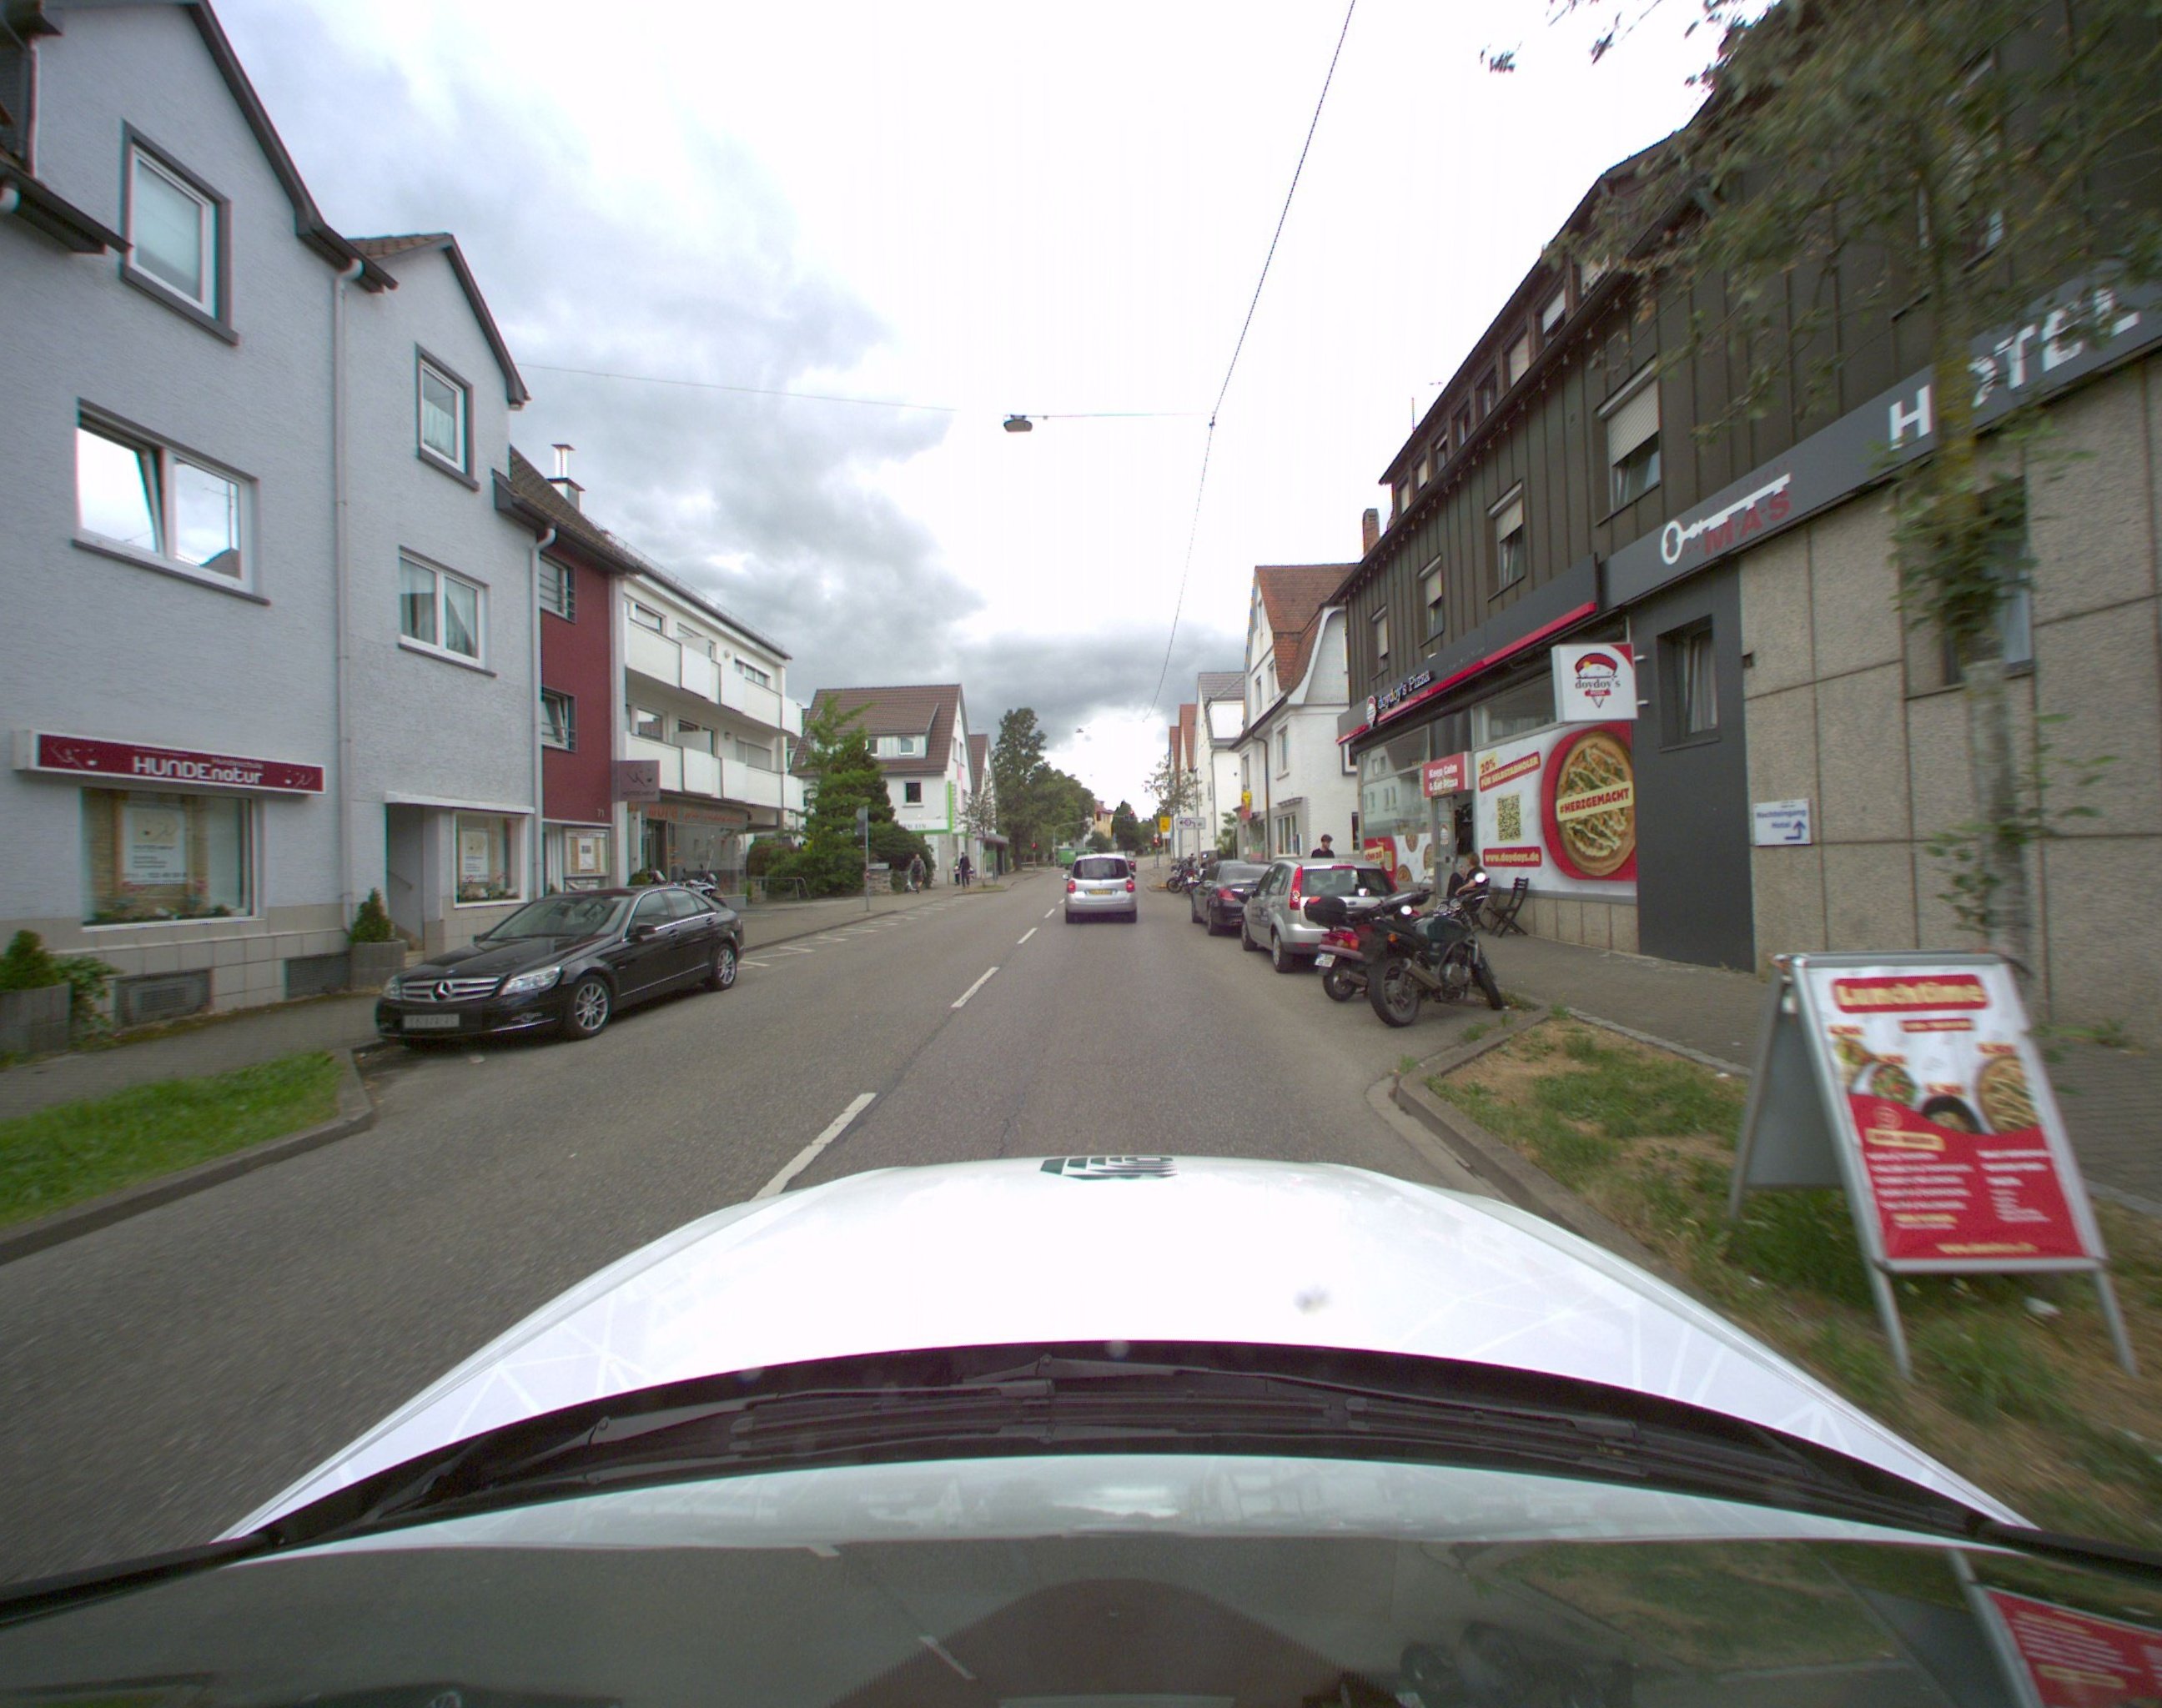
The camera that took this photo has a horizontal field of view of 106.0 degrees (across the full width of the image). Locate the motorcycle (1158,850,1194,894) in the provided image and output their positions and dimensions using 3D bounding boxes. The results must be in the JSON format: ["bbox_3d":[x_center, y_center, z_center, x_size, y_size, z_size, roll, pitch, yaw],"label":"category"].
[{"bbox_3d":[3.670,0.686,31.670,0.698,1.639,2.399,0,-1,-12],"label":"motorcycle"}]

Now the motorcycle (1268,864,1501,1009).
[{"bbox_3d":[3.263,0.787,8.624,2.723,1.336,0.693,0,-1,-29],"label":"motorcycle"}]

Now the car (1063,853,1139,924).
[{"bbox_3d":[0.528,0.772,20.066,1.676,1.566,3.996,0,0,2],"label":"car"}]

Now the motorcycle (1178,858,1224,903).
[{"bbox_3d":[4.050,0.851,27.315,0.691,1.409,2.732,-1,-1,26],"label":"motorcycle"}]

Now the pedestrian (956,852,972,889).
[{"bbox_3d":[-6.077,0.850,42.223,0.713,1.876,0.696,-1,-1,1],"label":"pedestrian"}]

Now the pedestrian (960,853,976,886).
[{"bbox_3d":[-6.367,0.864,45.874,0.759,1.876,0.696,-1,-1,1],"label":"pedestrian"}]

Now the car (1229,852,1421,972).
[{"bbox_3d":[3.297,0.718,11.774,1.694,1.430,3.891,-1,-1,1],"label":"car"}]

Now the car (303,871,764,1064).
[{"bbox_3d":[-5.562,1.016,9.204,1.941,1.467,4.518,-4,-1,2],"label":"car"}]

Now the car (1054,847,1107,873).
[{"bbox_3d":[-0.054,0.706,97.063,5.933,2.907,2.245,-1,-1,-12],"label":"car"}]

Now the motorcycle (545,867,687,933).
[{"bbox_3d":[-10.440,1.009,18.369,2.705,1.409,0.698,-1,-1,-8],"label":"motorcycle"}]

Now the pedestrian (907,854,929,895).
[{"bbox_3d":[-7.362,0.915,36.865,0.760,1.791,0.890,-1,-1,1],"label":"pedestrian"}]

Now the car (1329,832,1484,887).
[{"bbox_3d":[9.622,0.167,24.303,3.965,1.566,1.689,0,-1,2],"label":"car"}]

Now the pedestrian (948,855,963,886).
[{"bbox_3d":[-7.099,0.937,46.237,0.713,1.756,0.696,-1,-1,1],"label":"pedestrian"}]

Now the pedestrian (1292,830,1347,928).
[{"bbox_3d":[4.808,0.493,16.478,0.853,1.928,0.900,-1,-1,2],"label":"pedestrian"}]

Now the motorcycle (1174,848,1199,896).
[{"bbox_3d":[3.765,0.629,28.947,0.693,1.639,2.417,-1,-1,11],"label":"motorcycle"}]

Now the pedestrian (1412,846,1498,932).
[{"bbox_3d":[6.150,0.563,13.463,0.884,1.300,0.967,-5,-1,2],"label":"pedestrian"}]

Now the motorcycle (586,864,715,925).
[{"bbox_3d":[-10.522,0.978,19.972,2.705,1.409,0.698,-1,-1,-8],"label":"motorcycle"}]

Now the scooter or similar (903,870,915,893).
[{"bbox_3d":[-8.051,1.295,38.174,0.372,1.034,0.560,-2,-1,1],"label":"scooter or similar"}]

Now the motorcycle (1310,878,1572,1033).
[{"bbox_3d":[3.405,0.852,7.574,2.744,1.183,0.693,0,-1,-29],"label":"motorcycle"}]

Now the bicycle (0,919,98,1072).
[{"bbox_3d":[-8.743,1.135,6.195,0.513,1.153,1.665,-1,-1,-1],"label":"bicycle"}]

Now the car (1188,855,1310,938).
[{"bbox_3d":[3.259,0.771,16.589,1.694,1.467,4.240,-1,-1,1],"label":"car"}]

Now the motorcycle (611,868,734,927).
[{"bbox_3d":[-10.393,1.089,20.796,2.705,1.409,0.698,-1,-1,-8],"label":"motorcycle"}]
